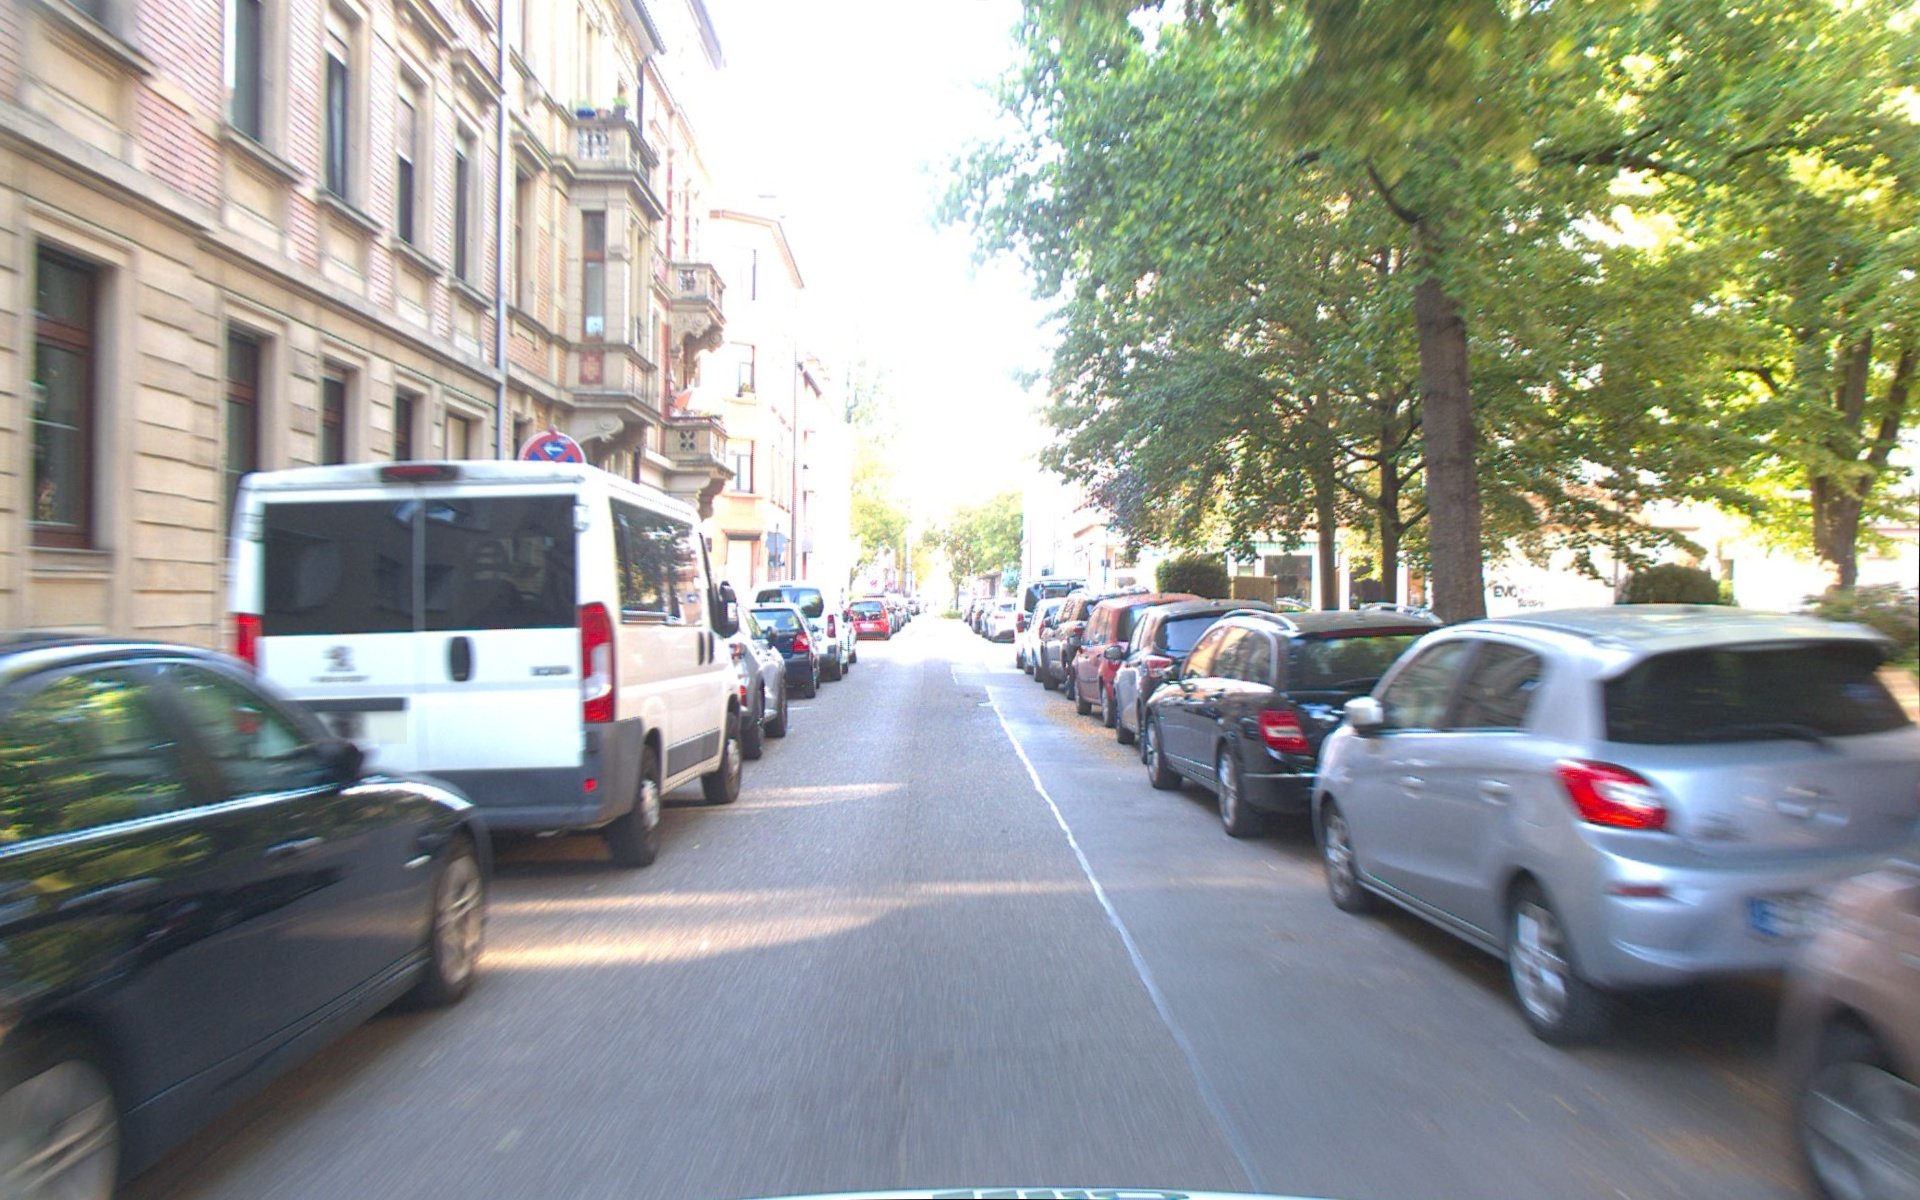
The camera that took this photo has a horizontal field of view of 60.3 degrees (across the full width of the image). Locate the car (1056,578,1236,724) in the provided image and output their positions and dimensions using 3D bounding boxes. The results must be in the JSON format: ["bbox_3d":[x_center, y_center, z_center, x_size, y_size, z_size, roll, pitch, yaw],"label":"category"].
[{"bbox_3d":[2.387,0.646,22.125,1.587,1.653,3.859,-4,-1,-5],"label":"car"}]

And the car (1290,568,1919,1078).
[{"bbox_3d":[2.695,0.720,7.130,1.567,1.531,3.626,-4,-1,-3],"label":"car"}]

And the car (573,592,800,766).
[{"bbox_3d":[-2.693,0.711,17.185,1.730,1.540,4.192,-1,0,-2],"label":"car"}]

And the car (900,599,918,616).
[{"bbox_3d":[-4.730,0.710,154.834,1.642,1.513,4.093,-1,0,-1],"label":"car"}]

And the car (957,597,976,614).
[{"bbox_3d":[0.595,0.460,150.760,1.642,1.513,3.637,-1,0,-1],"label":"car"}]

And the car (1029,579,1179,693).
[{"bbox_3d":[2.324,0.587,27.747,1.706,1.631,4.260,-4,-1,-5],"label":"car"}]

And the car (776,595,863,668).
[{"bbox_3d":[-3.111,0.670,37.179,1.658,1.507,3.972,-1,0,-1],"label":"car"}]

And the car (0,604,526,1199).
[{"bbox_3d":[-2.641,0.758,4.513,1.695,1.426,4.315,-1,0,1],"label":"car"}]

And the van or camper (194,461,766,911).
[{"bbox_3d":[-2.695,0.419,10.809,2.132,2.185,5.154,-1,0,1],"label":"van or camper"}]

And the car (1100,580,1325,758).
[{"bbox_3d":[2.471,0.645,17.011,1.586,1.512,3.775,-4,-1,-1],"label":"car"}]

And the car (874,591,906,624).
[{"bbox_3d":[-4.000,0.442,95.212,1.729,1.816,4.038,-1,0,-1],"label":"car"}]

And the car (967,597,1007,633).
[{"bbox_3d":[1.200,0.662,75.691,1.642,1.533,3.936,-1,0,-1],"label":"car"}]

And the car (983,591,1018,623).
[{"bbox_3d":[2.255,0.404,92.344,1.642,1.655,4.249,-4,0,-1],"label":"car"}]

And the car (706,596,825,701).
[{"bbox_3d":[-3.091,0.722,26.911,1.659,1.540,3.970,-1,0,-4],"label":"car"}]

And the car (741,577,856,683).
[{"bbox_3d":[-3.031,0.525,31.793,1.794,1.843,4.571,-1,0,-1],"label":"car"}]

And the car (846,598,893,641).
[{"bbox_3d":[-3.300,0.699,60.945,1.595,1.507,3.600,-1,0,-1],"label":"car"}]

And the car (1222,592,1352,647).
[{"bbox_3d":[10.169,0.622,51.674,3.836,1.636,1.762,1,-2,6],"label":"car"}]

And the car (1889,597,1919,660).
[{"bbox_3d":[27.776,0.823,45.533,3.456,1.678,1.634,1,-2,6],"label":"car"}]

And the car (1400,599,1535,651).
[{"bbox_3d":[15.770,0.780,51.553,3.773,1.499,1.634,1,-2,6],"label":"car"}]

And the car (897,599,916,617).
[{"bbox_3d":[-4.833,0.690,149.433,1.642,1.513,4.093,-1,0,-1],"label":"car"}]

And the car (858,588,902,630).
[{"bbox_3d":[-3.649,0.379,76.054,1.707,1.842,4.672,-1,0,1],"label":"car"}]

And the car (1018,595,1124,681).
[{"bbox_3d":[2.144,0.707,32.867,1.684,1.598,3.826,0,0,-2],"label":"car"}]

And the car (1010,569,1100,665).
[{"bbox_3d":[2.130,0.369,38.320,1.875,2.033,4.792,-1,0,1],"label":"car"}]

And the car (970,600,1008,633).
[{"bbox_3d":[1.404,0.780,80.814,1.642,1.533,3.936,-1,0,-1],"label":"car"}]

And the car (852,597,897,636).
[{"bbox_3d":[-3.616,0.685,70.558,1.622,1.548,3.944,-1,0,1],"label":"car"}]

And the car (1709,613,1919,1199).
[{"bbox_3d":[2.931,0.753,2.841,1.567,1.493,3.563,-4,-1,0],"label":"car"}]

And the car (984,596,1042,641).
[{"bbox_3d":[1.900,0.643,60.462,1.709,1.533,4.355,-1,0,-3],"label":"car"}]

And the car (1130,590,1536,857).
[{"bbox_3d":[2.467,0.761,12.205,1.642,1.466,4.693,-4,0,-3],"label":"car"}]

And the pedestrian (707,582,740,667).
[{"bbox_3d":[-4.765,0.501,33.400,0.537,1.673,0.717,1,-2,-1],"label":"pedestrian"}]

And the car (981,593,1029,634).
[{"bbox_3d":[1.785,0.521,66.526,1.708,1.533,4.020,-1,0,-1],"label":"car"}]
